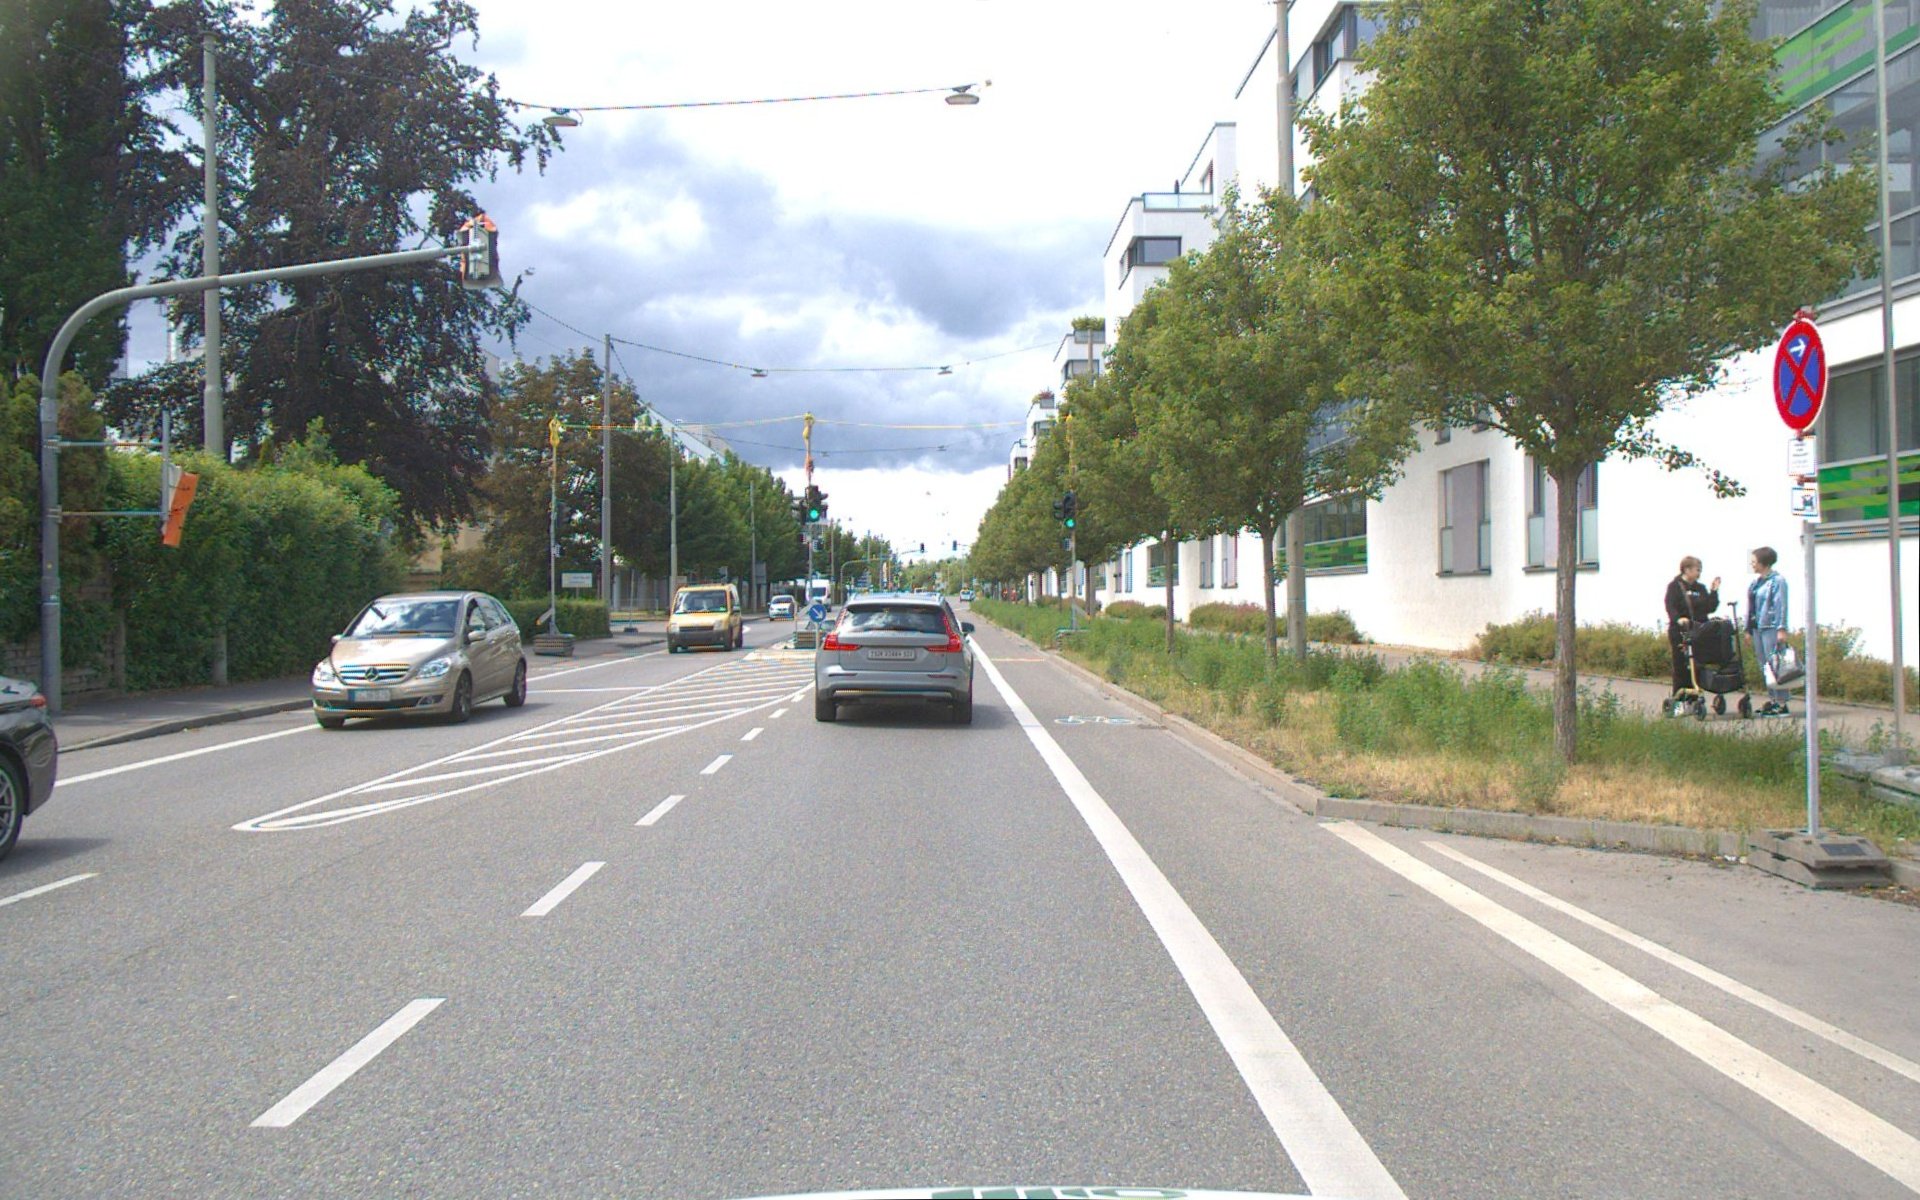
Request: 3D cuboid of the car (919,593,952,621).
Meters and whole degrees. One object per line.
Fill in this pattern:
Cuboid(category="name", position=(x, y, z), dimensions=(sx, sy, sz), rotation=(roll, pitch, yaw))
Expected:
Cuboid(category="car", position=(-1.390, 0.368, 92.279), dimensions=(1.807, 1.539, 3.999), rotation=(0, 1, -2))

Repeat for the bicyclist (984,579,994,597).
Cuboid(category="bicyclist", position=(3.298, -1.354, 185.457), dimensions=(0.993, 2.049, 1.131), rotation=(-2, 0, -2))

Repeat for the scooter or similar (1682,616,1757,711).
Cuboid(category="scooter or similar", position=(7.662, 0.632, 16.706), dimensions=(0.413, 0.921, 0.681), rotation=(-1, 0, -1))

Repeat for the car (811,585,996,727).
Cuboid(category="car", position=(-0.584, 0.606, 20.191), dimensions=(1.815, 1.539, 4.002), rotation=(0, 0, 4))

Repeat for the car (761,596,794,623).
Cuboid(category="car", position=(-11.041, 0.559, 100.093), dimensions=(1.627, 1.542, 3.999), rotation=(-1, 0, -1))

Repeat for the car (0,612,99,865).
Cuboid(category="car", position=(-6.439, 0.851, 8.081), dimensions=(1.953, 1.424, 4.810), rotation=(-3, 0, -1))

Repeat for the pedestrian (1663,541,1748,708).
Cuboid(category="pedestrian", position=(7.717, 0.248, 17.139), dimensions=(0.593, 1.684, 0.552), rotation=(-1, 0, -1))

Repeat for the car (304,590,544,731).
Cuboid(category="car", position=(-6.803, 0.689, 21.497), dimensions=(1.714, 1.583, 4.401), rotation=(-2, 1, -1))

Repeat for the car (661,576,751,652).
Cuboid(category="car", position=(-6.951, 0.352, 45.710), dimensions=(1.804, 1.938, 4.684), rotation=(-1, 0, -1))

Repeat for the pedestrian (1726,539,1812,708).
Cuboid(category="pedestrian", position=(8.269, 0.230, 16.914), dimensions=(0.539, 1.684, 0.607), rotation=(-1, 0, -1))

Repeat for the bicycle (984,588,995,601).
Cuboid(category="bicycle", position=(3.344, -0.628, 185.438), dimensions=(1.045, 1.478, 2.976), rotation=(-2, 0, -2))

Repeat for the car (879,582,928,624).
Cuboid(category="car", position=(-2.137, 0.102, 63.106), dimensions=(1.817, 1.539, 3.999), rotation=(0, 1, -2))

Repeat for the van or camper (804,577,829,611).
Cuboid(category="van or camper", position=(-12.210, -0.523, 140.466), dimensions=(1.955, 2.781, 6.046), rotation=(-2, 0, -5))
